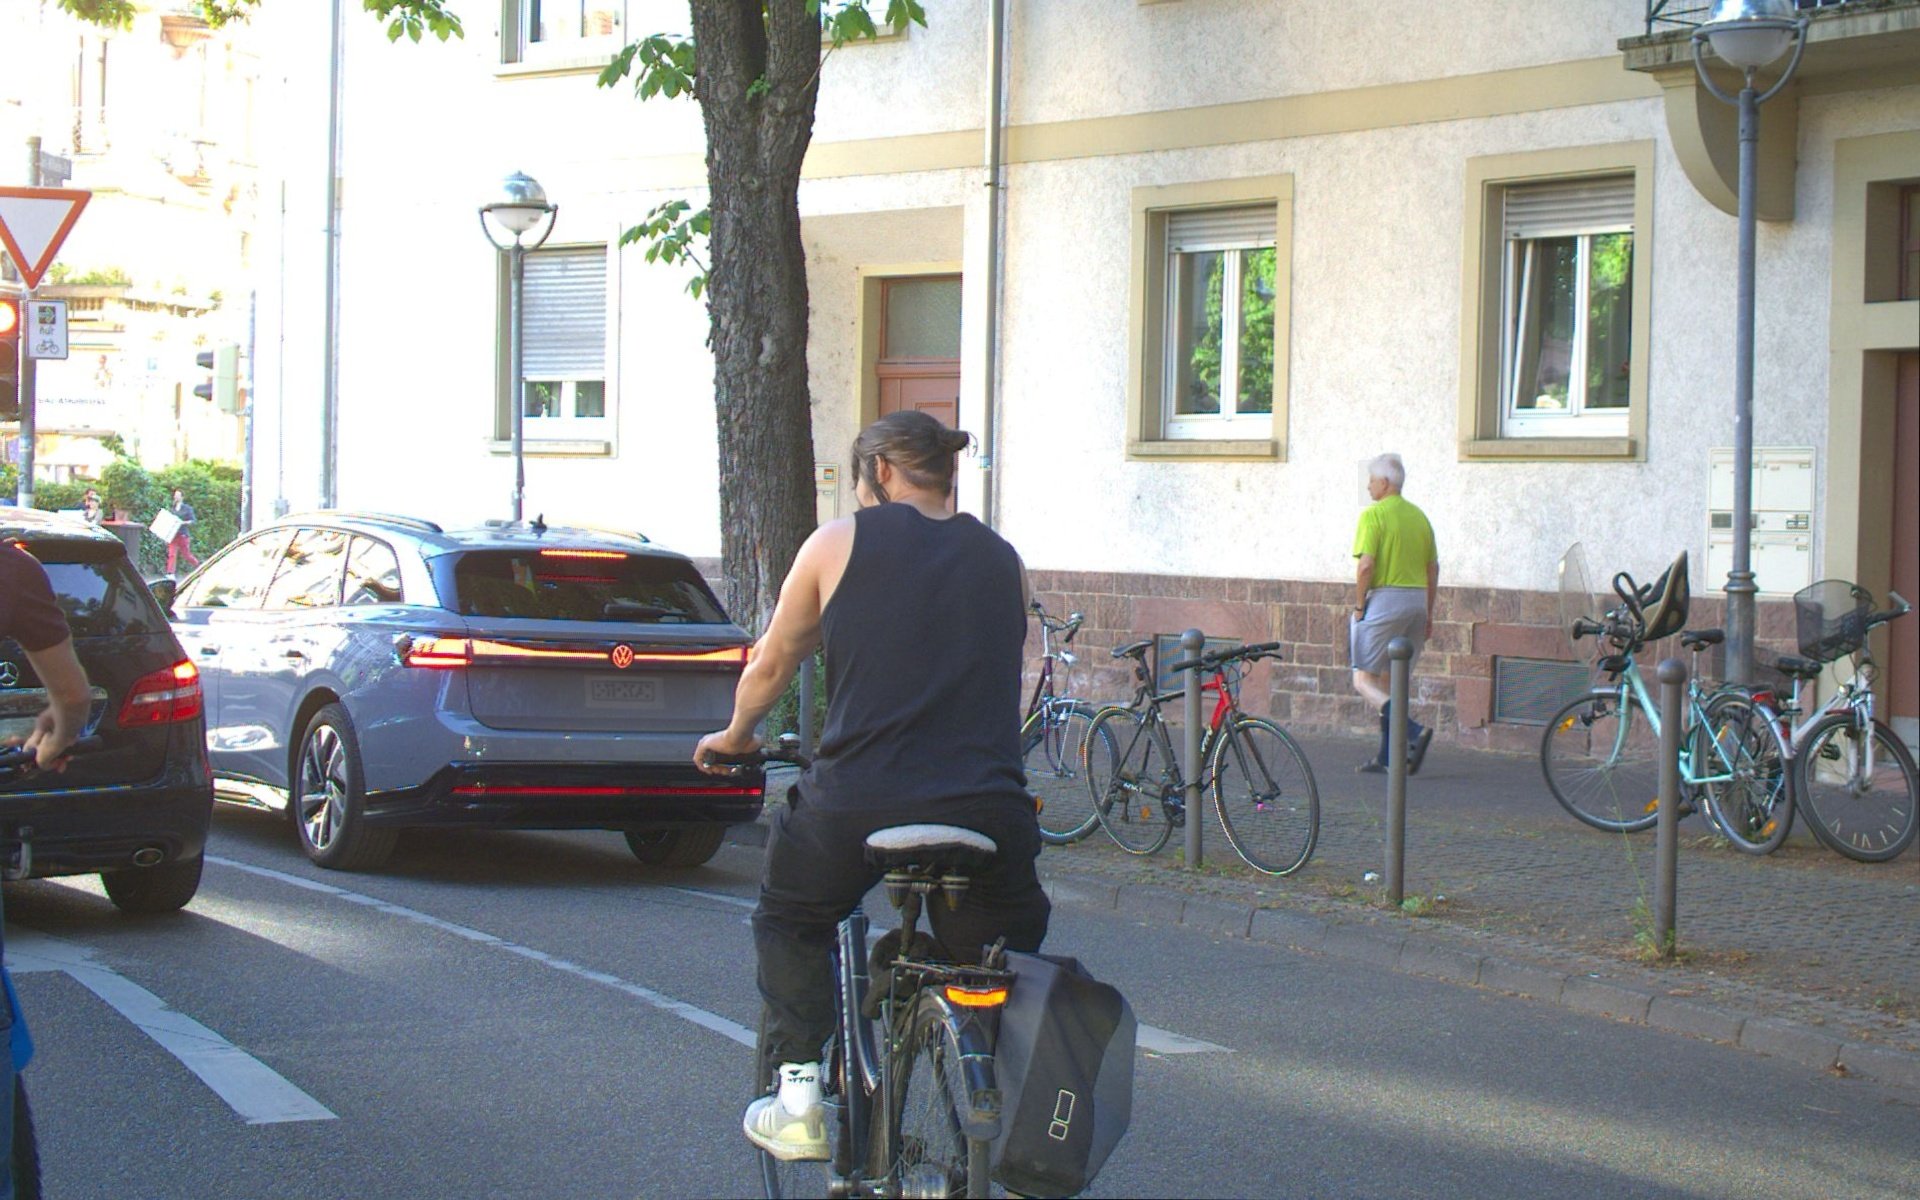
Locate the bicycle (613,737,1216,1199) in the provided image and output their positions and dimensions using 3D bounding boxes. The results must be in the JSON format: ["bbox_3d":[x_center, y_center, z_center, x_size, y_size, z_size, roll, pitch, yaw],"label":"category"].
[{"bbox_3d":[-0.169,0.847,6.560,0.737,1.008,2.062,0,2,-12],"label":"bicycle"}]

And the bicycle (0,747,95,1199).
[{"bbox_3d":[-1.947,0.847,6.303,0.674,1.050,2.062,1,0,-15],"label":"bicycle"}]

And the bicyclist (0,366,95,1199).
[{"bbox_3d":[-1.912,0.354,6.185,0.671,1.509,1.069,1,1,-14],"label":"bicyclist"}]

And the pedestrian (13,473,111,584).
[{"bbox_3d":[-16.267,-1.298,62.304,1.159,1.955,1.386,2,1,14],"label":"pedestrian"}]

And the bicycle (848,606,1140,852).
[{"bbox_3d":[0.121,0.566,16.026,0.520,0.995,2.192,1,1,-23],"label":"bicycle"}]

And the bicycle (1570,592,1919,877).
[{"bbox_3d":[3.594,0.556,15.297,0.582,1.110,2.118,0,2,-26],"label":"bicycle"}]

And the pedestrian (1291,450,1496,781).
[{"bbox_3d":[2.417,0.065,19.146,0.659,1.789,0.995,2,3,43],"label":"pedestrian"}]

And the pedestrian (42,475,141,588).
[{"bbox_3d":[-15.477,-1.227,61.307,1.159,1.955,1.386,2,1,14],"label":"pedestrian"}]

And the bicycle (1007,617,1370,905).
[{"bbox_3d":[0.935,0.643,14.648,0.616,1.054,1.929,-1,3,-28],"label":"bicycle"}]

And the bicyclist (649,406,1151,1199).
[{"bbox_3d":[-0.143,0.496,6.453,0.752,1.676,0.913,1,1,-11],"label":"bicyclist"}]

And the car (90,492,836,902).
[{"bbox_3d":[-2.402,0.339,15.698,1.891,1.572,4.000,1,2,-32],"label":"car"}]

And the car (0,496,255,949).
[{"bbox_3d":[-4.378,0.377,13.375,1.813,1.538,3.958,-2,2,-34],"label":"car"}]

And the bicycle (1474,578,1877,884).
[{"bbox_3d":[3.072,0.526,14.994,0.494,1.168,2.117,-3,3,-26],"label":"bicycle"}]
